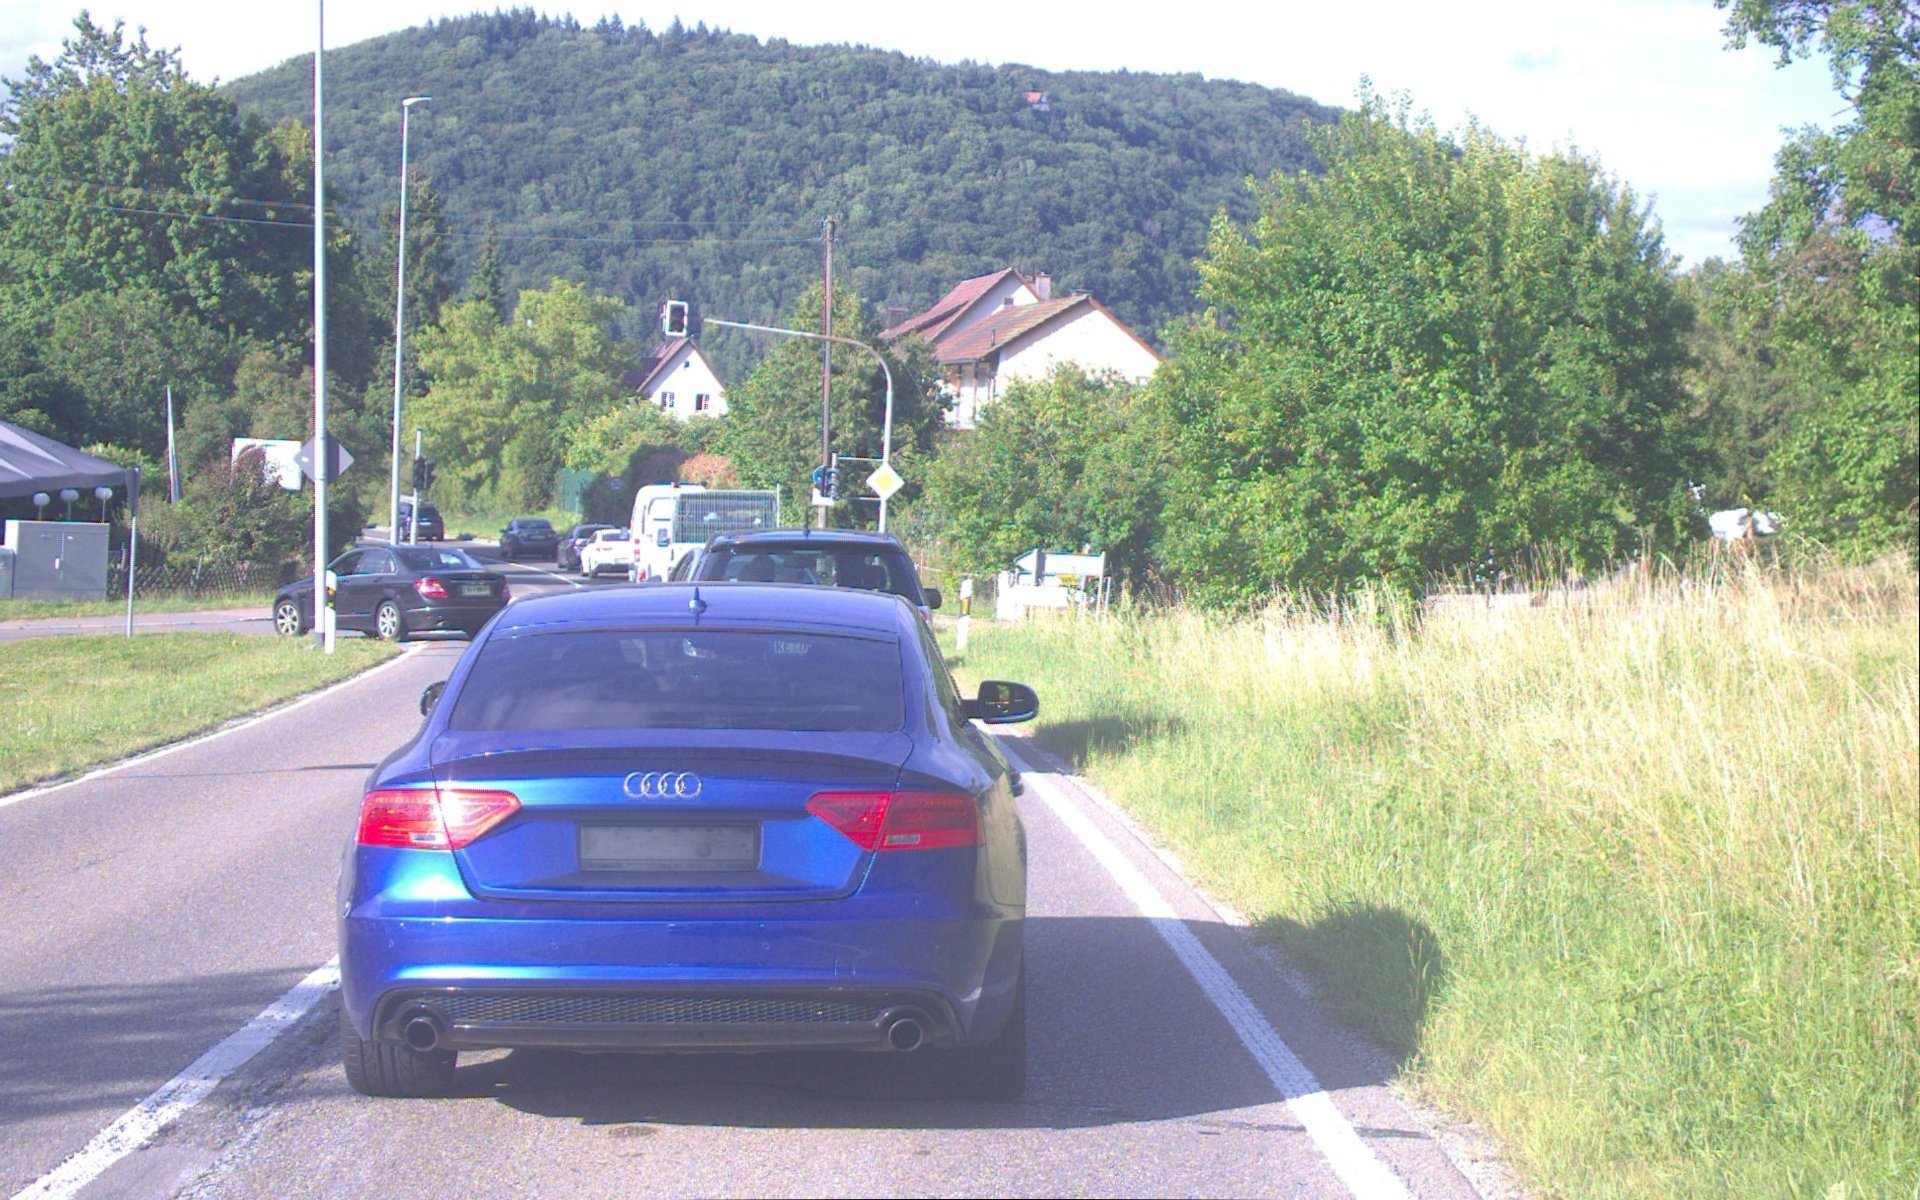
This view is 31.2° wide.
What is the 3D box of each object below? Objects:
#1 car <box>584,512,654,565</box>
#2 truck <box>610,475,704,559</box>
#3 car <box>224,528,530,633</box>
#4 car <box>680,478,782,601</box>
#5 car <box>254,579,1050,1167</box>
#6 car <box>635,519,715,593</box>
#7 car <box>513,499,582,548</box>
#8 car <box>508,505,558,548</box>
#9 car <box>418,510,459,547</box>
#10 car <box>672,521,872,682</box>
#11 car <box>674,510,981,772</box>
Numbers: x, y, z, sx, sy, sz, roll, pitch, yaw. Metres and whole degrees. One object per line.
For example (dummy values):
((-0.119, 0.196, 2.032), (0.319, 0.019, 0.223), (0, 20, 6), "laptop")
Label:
((-9.907, -1.764, 99.769), (1.697, 1.485, 3.528), (1, 0, -10), "car")
((-7.477, -1.992, 84.435), (1.697, 1.947, 5.924), (1, 0, -10), "truck")
((-8.559, -0.291, 50.548), (3.991, 1.437, 1.918), (1, 0, 19), "car")
((-4.301, -1.112, 64.081), (1.746, 2.188, 4.001), (1, 0, -5), "car")
((-0.686, 0.634, 10.165), (1.795, 1.383, 4.000), (0, 0, 3), "car")
((-6.581, -0.995, 79.141), (1.746, 1.634, 4.001), (1, 0, -5), "car")
((-13.082, -2.403, 108.910), (1.697, 1.485, 3.528), (1, 0, -14), "car")
((-15.533, -2.677, 125.061), (1.697, 1.485, 3.528), (1, 0, -8), "car")
((-23.121, -3.173, 152.408), (1.625, 1.571, 3.680), (1, 0, -11), "car")
((-2.007, 0.002, 37.903), (1.805, 1.634, 4.463), (1, 0, 2), "car")
((-0.833, 0.251, 23.873), (1.746, 1.634, 4.000), (1, 0, 3), "car")
